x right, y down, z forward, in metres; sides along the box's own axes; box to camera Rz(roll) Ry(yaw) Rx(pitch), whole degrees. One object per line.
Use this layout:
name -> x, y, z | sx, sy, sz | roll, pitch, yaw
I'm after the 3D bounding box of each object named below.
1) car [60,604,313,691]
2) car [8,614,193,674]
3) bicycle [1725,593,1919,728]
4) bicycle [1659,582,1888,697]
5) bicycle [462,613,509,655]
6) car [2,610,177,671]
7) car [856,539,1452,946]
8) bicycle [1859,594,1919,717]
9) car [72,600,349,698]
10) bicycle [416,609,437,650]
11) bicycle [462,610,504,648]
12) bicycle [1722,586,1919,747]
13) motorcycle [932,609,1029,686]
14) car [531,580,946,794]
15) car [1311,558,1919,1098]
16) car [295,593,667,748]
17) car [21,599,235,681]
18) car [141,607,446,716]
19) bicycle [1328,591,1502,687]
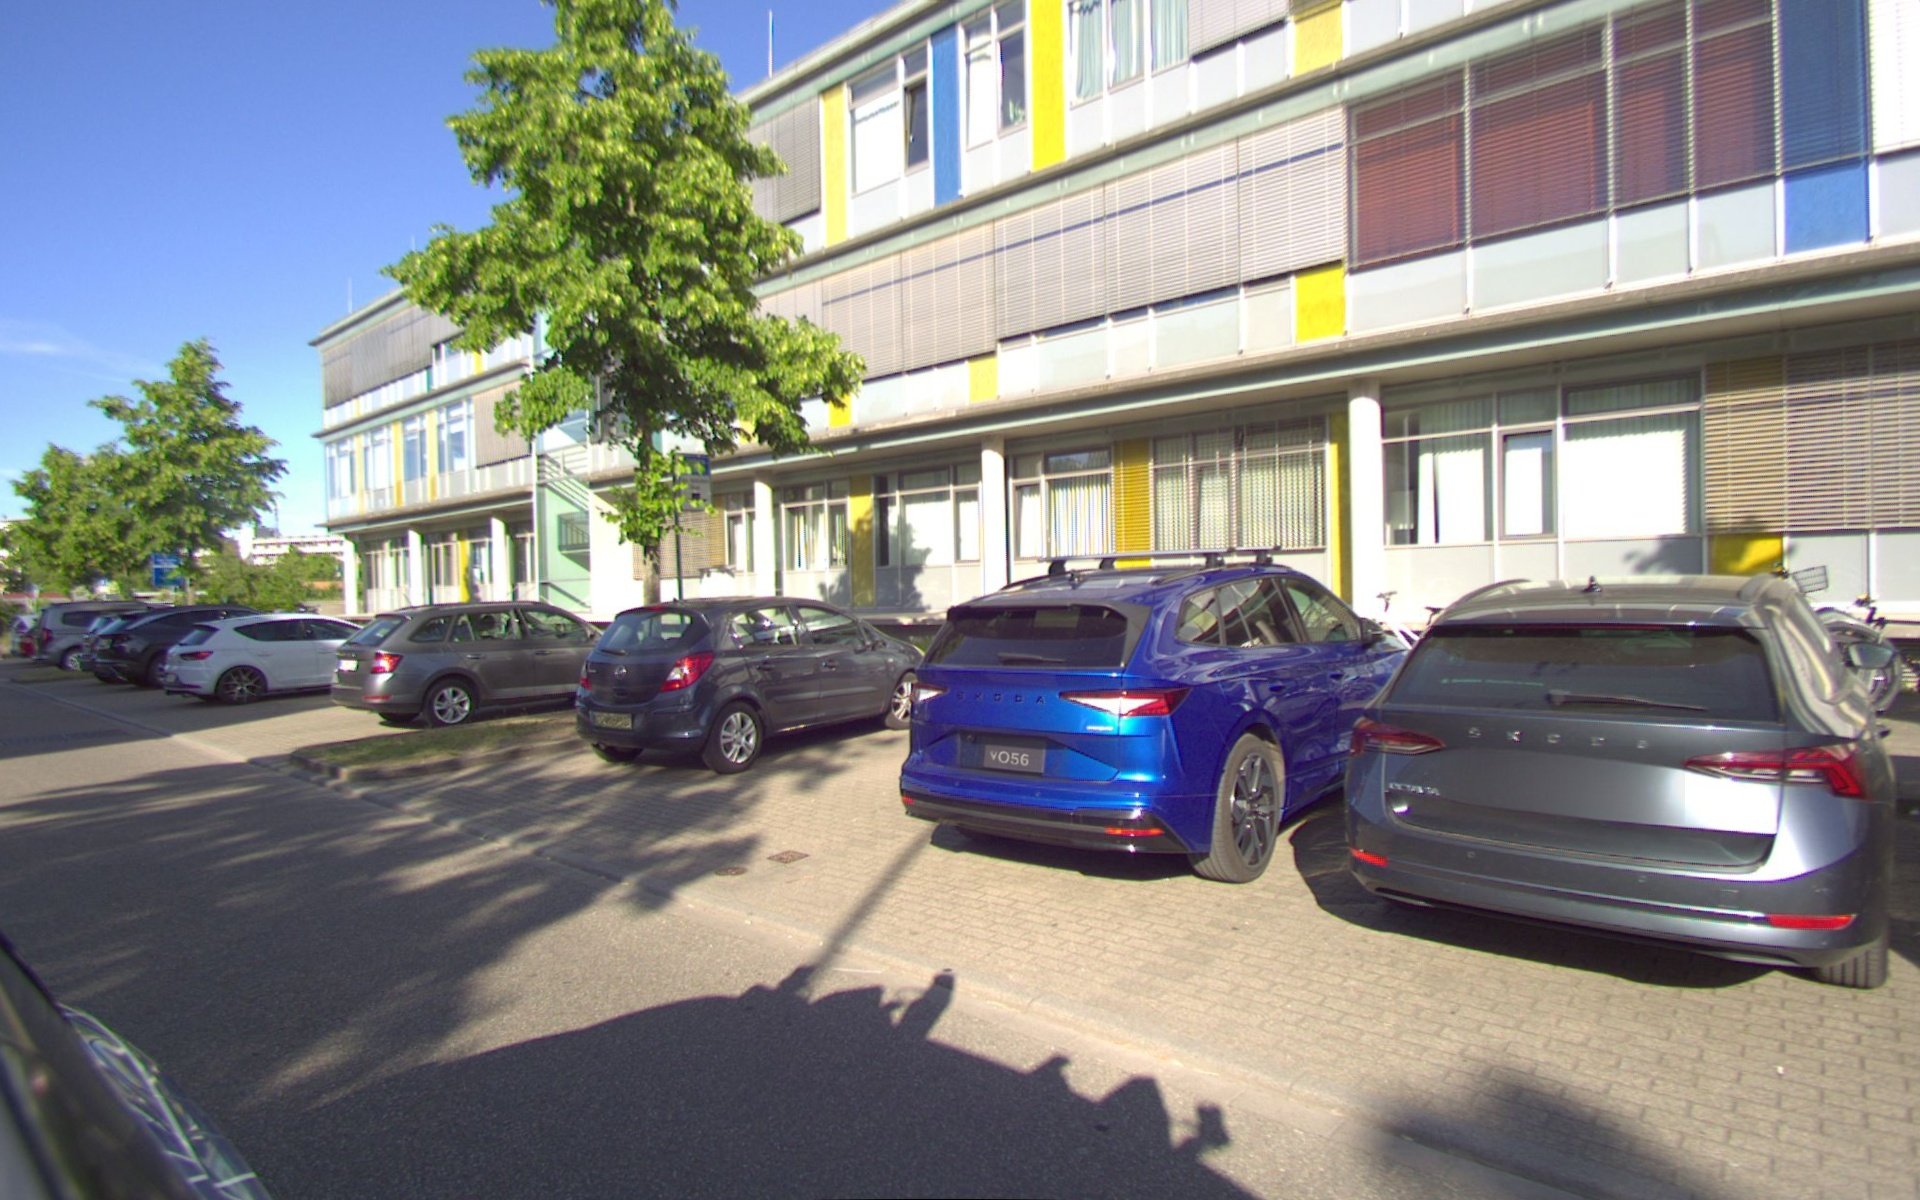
car -> -18.067, 1.048, 23.814 | 1.997, 1.602, 4.309 | -2, 2, 37
car -> -27.187, 1.334, 32.085 | 4.298, 1.471, 2.002 | -4, 2, -44
bicycle -> 7.236, 0.467, 8.073 | 1.778, 1.023, 0.422 | -1, 0, 40
bicycle -> 8.630, 0.410, 10.815 | 1.854, 1.144, 0.442 | -1, 0, 40
bicycle -> -12.723, 0.911, 27.103 | 1.659, 1.087, 0.513 | -1, -1, 41
car -> -29.293, 1.293, 34.138 | 4.298, 1.658, 2.002 | -4, 2, -44
car -> 1.526, 0.536, 6.389 | 1.958, 1.663, 4.180 | -1, 1, 39
bicycle -> 8.571, 0.455, 8.287 | 1.778, 1.023, 0.442 | -1, 0, 40
car -> -15.842, 0.950, 21.602 | 1.997, 1.639, 4.309 | -1, 3, 37
bicycle -> -15.678, 0.850, 29.732 | 0.455, 1.104, 1.517 | -3, 4, -29
bicycle -> -14.295, 0.860, 30.311 | 1.659, 1.105, 0.513 | -1, 0, 41
bicycle -> 6.904, 0.479, 7.649 | 1.778, 1.151, 0.629 | -1, 0, 40
motorcycle -> 0.312, 0.639, 14.260 | 0.620, 0.951, 1.561 | -1, 1, 33
car -> -1.916, 0.648, 9.766 | 1.774, 1.499, 3.712 | -1, 3, 33
car -> 3.216, 0.568, 4.752 | 1.729, 1.448, 3.949 | -1, 1, 39
car -> -6.052, 0.764, 13.167 | 1.822, 1.499, 3.942 | -1, 3, 39
car -> -23.135, 1.050, 28.252 | 2.000, 1.876, 4.303 | -2, 2, 42
car -> -11.481, 0.959, 17.656 | 1.822, 1.433, 4.051 | -1, 3, 39
bicycle -> 5.616, 0.465, 12.566 | 1.854, 1.104, 0.640 | -1, 0, 40
